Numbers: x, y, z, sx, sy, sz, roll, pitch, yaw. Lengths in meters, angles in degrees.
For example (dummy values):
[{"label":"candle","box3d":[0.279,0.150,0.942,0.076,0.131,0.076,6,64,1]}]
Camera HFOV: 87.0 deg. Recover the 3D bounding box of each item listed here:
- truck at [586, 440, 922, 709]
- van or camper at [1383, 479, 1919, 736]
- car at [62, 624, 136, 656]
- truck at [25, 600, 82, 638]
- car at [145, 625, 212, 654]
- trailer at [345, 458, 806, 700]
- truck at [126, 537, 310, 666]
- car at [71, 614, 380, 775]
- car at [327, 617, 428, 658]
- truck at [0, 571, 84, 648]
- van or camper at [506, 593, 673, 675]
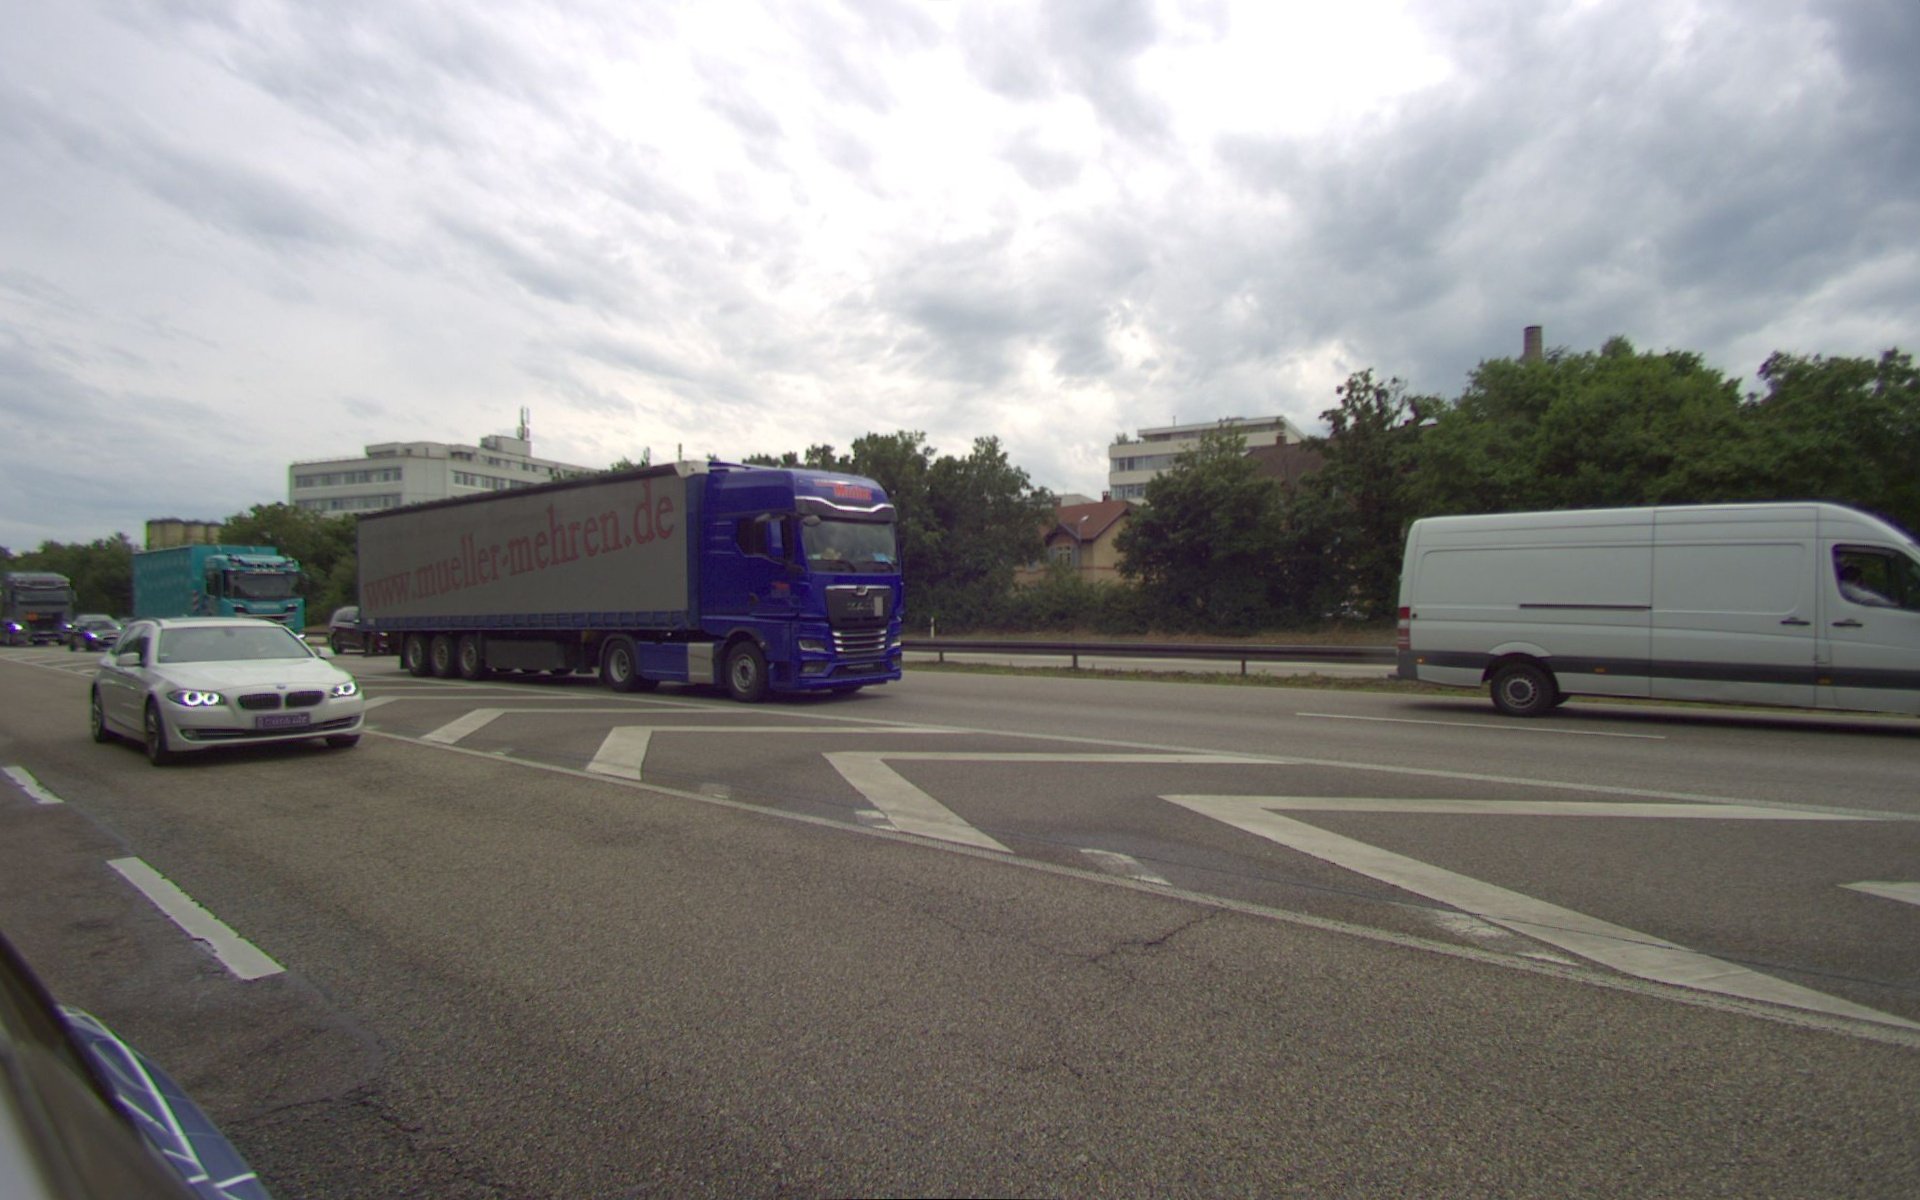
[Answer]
[{"label":"truck","box3d":[-3.785,-0.327,17.918,5.919,3.991,2.643,-1,-1,38]},{"label":"van or camper","box3d":[9.111,0.116,12.406,6.951,2.641,2.028,-1,-2,40]},{"label":"car","box3d":[-38.667,1.774,45.437,3.994,1.332,1.736,-1,-1,38]},{"label":"truck","box3d":[-92.980,1.945,103.795,7.513,3.790,1.981,-1,-1,29]},{"label":"car","box3d":[-41.297,2.055,53.449,4.049,1.444,1.875,-1,-2,38]},{"label":"trailer","box3d":[-9.147,-0.233,22.120,13.900,4.005,2.647,-1,-1,38]},{"label":"truck","box3d":[-26.599,0.137,36.024,10.111,4.031,2.667,-1,-1,38]},{"label":"car","box3d":[-8.688,0.940,11.786,4.881,1.475,1.840,-1,-1,41]},{"label":"car","box3d":[-21.677,1.356,37.637,3.994,1.444,1.875,-1,-2,38]},{"label":"truck","box3d":[-53.410,0.615,57.207,13.123,3.955,3.288,-1,-1,37]},{"label":"van or camper","box3d":[-9.679,0.846,26.253,4.847,1.935,1.901,-1,-2,40]}]
